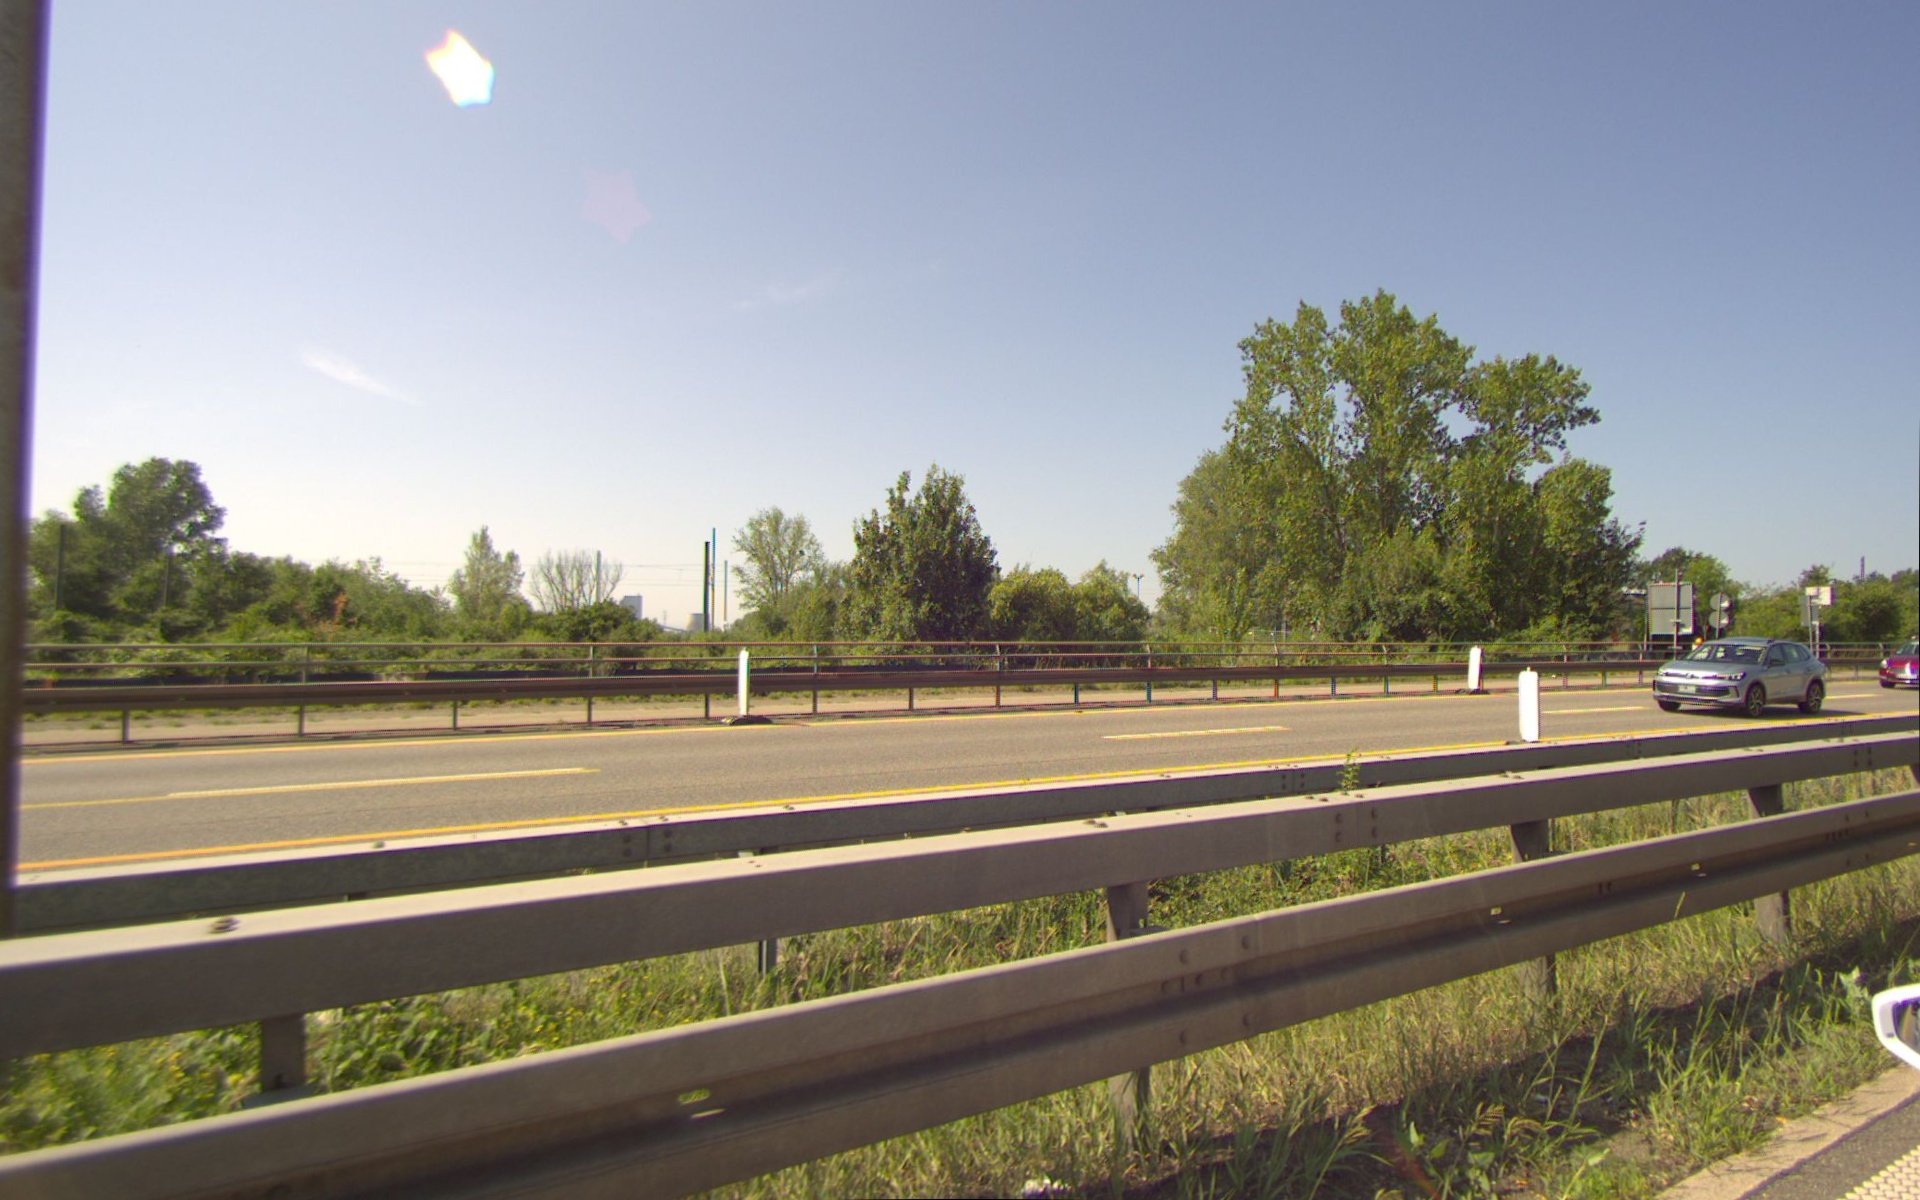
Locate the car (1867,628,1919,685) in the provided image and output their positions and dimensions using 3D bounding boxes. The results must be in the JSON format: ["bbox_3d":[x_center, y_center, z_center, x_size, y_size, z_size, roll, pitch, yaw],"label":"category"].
[{"bbox_3d":[31.762,1.807,32.516,4.955,1.757,1.903,1,-2,-27],"label":"car"}]

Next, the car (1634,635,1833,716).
[{"bbox_3d":[17.565,1.644,22.800,4.319,1.672,1.903,1,-2,-27],"label":"car"}]
